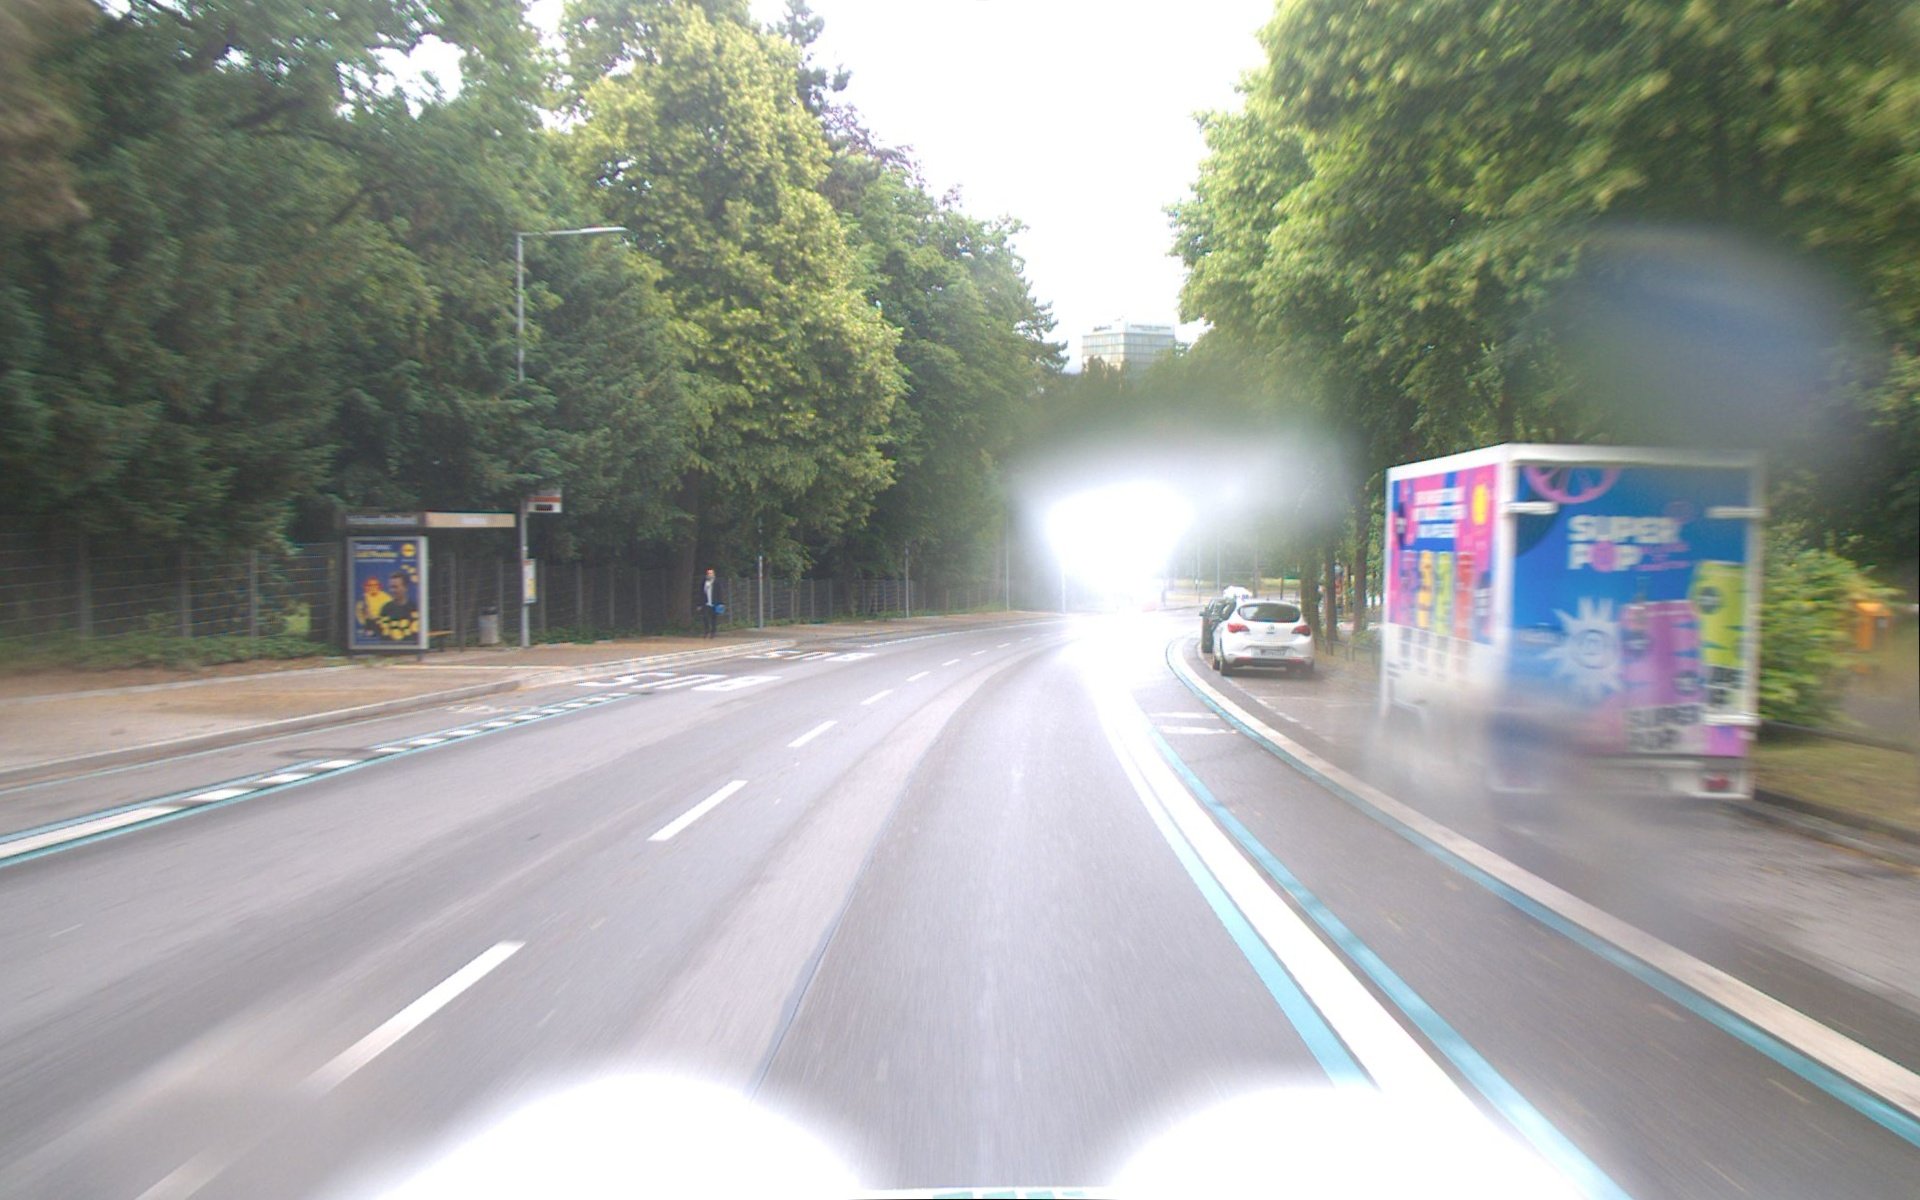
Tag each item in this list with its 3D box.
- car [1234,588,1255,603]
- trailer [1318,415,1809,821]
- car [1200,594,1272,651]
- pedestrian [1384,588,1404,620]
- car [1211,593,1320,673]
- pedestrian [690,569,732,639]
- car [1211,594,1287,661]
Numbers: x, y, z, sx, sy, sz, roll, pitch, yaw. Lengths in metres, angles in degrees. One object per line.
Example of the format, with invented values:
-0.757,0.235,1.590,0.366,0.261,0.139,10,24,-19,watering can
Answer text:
31.883,-0.529,185.298,1.804,1.482,4.503,1,2,16,car
4.669,0.106,13.901,2.268,2.718,5.377,1,0,2,trailer
7.657,0.596,46.218,1.744,1.432,4.849,2,0,7,car
24.145,0.238,92.077,0.869,1.763,1.145,1,0,24,pedestrian
6.069,0.618,33.288,1.820,1.453,4.653,2,0,7,car
-6.451,0.098,42.890,0.868,1.763,1.146,1,0,2,pedestrian
6.844,0.611,39.292,1.647,1.453,4.321,2,0,10,car
